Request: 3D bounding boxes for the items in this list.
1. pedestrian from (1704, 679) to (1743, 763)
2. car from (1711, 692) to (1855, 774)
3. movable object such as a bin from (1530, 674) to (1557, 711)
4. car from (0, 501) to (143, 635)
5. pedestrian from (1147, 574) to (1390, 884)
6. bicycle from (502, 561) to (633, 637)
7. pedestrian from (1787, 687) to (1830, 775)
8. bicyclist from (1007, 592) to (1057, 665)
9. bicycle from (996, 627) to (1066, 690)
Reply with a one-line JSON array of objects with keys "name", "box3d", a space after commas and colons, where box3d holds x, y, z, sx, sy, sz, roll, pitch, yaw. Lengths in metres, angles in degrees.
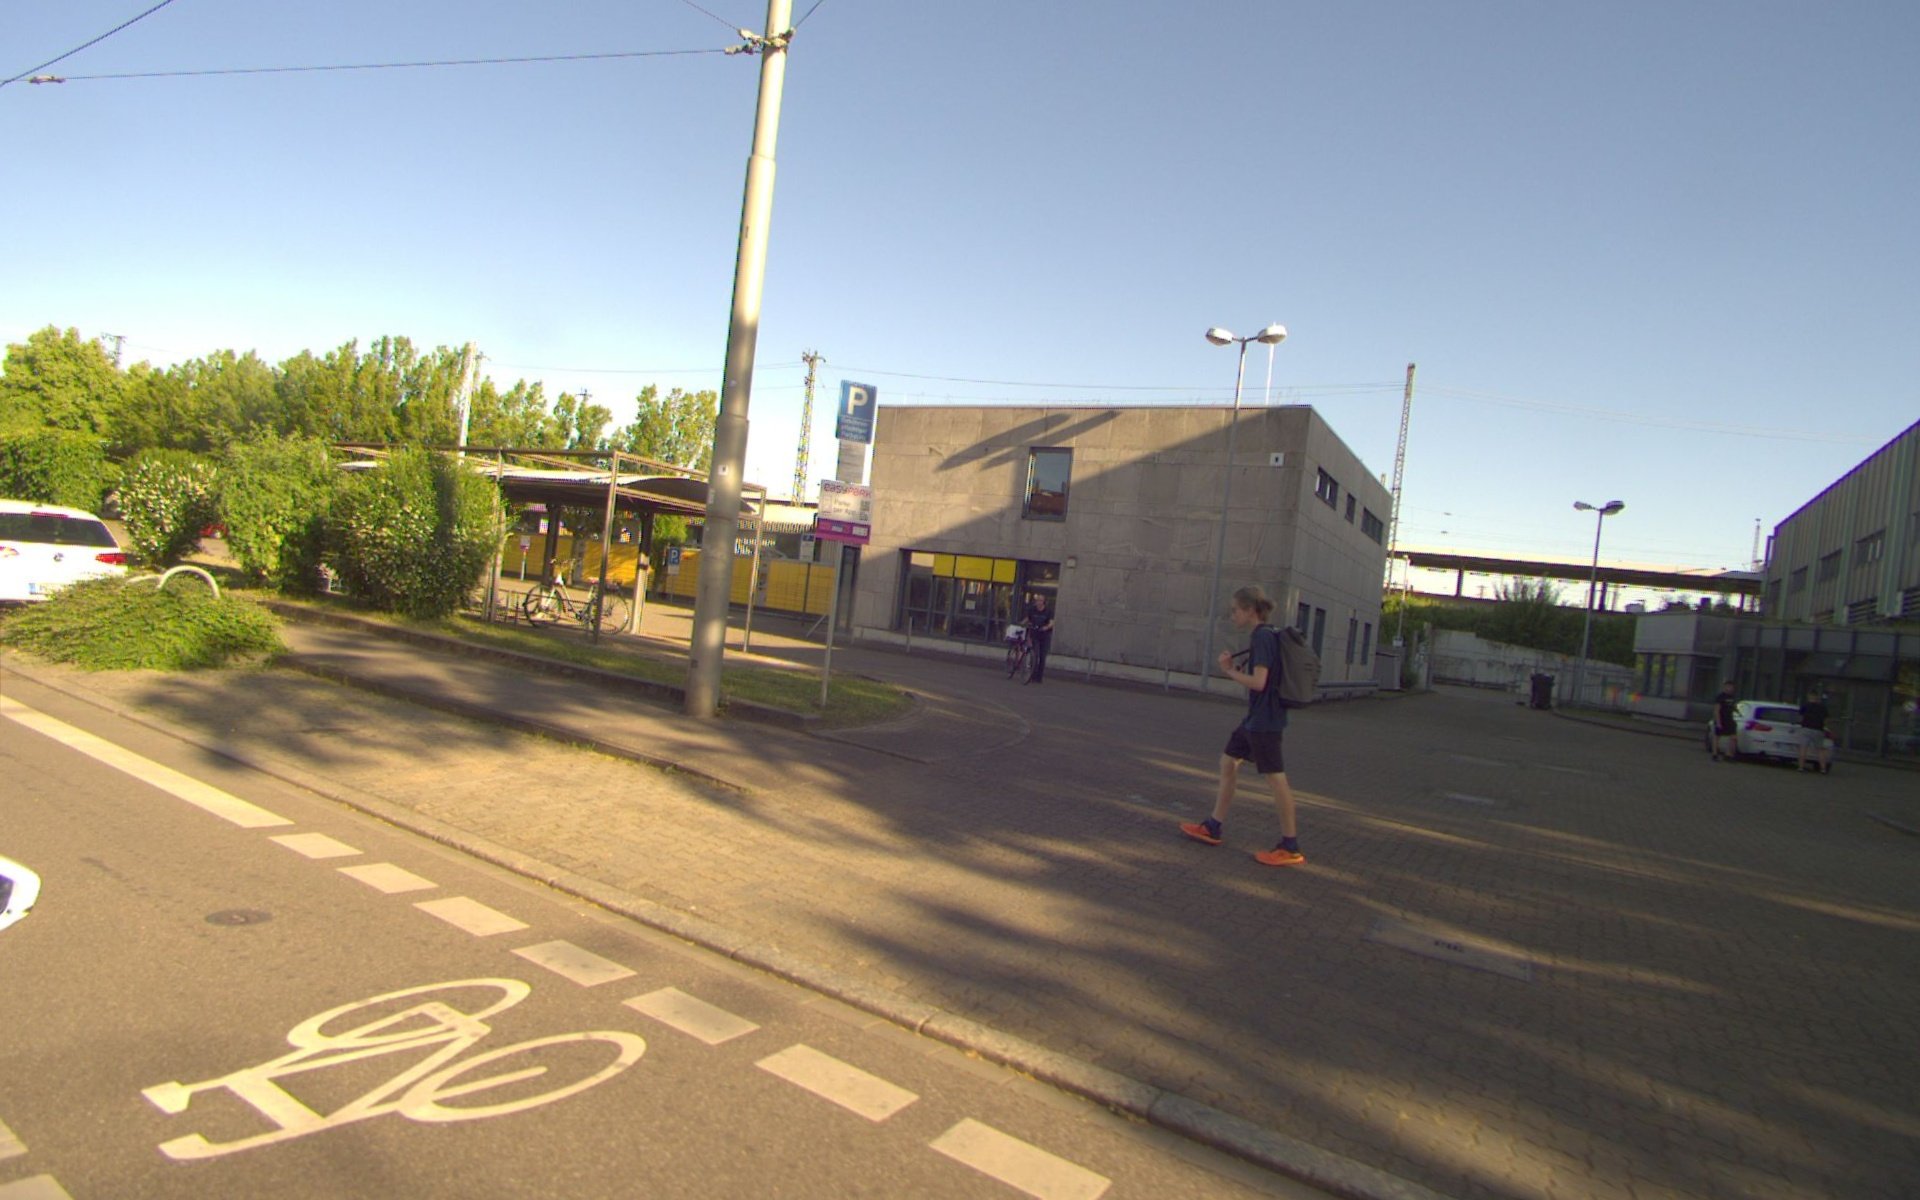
[{"name": "pedestrian", "box3d": [17.101, 2.701, 22.542, 0.503, 1.802, 0.481, 6, -1, 33]}, {"name": "car", "box3d": [19.056, 3.036, 23.486, 1.870, 1.491, 4.082, 6, -2, 31]}, {"name": "movable object such as a bin", "box3d": [22.276, 3.527, 38.414, 0.767, 1.295, 0.903, 6, -1, 31]}, {"name": "car", "box3d": [-12.351, -0.529, 12.685, 4.426, 1.436, 1.677, 6, 1, 30]}, {"name": "pedestrian", "box3d": [2.057, 0.786, 6.755, 1.282, 1.814, 0.670, 6, 4, 31]}, {"name": "bicycle", "box3d": [-6.545, 0.001, 16.836, 0.569, 1.020, 1.893, 6, -2, 43]}, {"name": "pedestrian", "box3d": [18.200, 2.811, 21.588, 0.503, 1.802, 0.481, 6, -1, 33]}, {"name": "bicyclist", "box3d": [1.463, 0.577, 20.609, 0.719, 1.401, 0.580, 7, -1, -15]}, {"name": "bicycle", "box3d": [1.407, 1.159, 20.478, 0.742, 1.083, 2.005, 7, -1, -13]}]
